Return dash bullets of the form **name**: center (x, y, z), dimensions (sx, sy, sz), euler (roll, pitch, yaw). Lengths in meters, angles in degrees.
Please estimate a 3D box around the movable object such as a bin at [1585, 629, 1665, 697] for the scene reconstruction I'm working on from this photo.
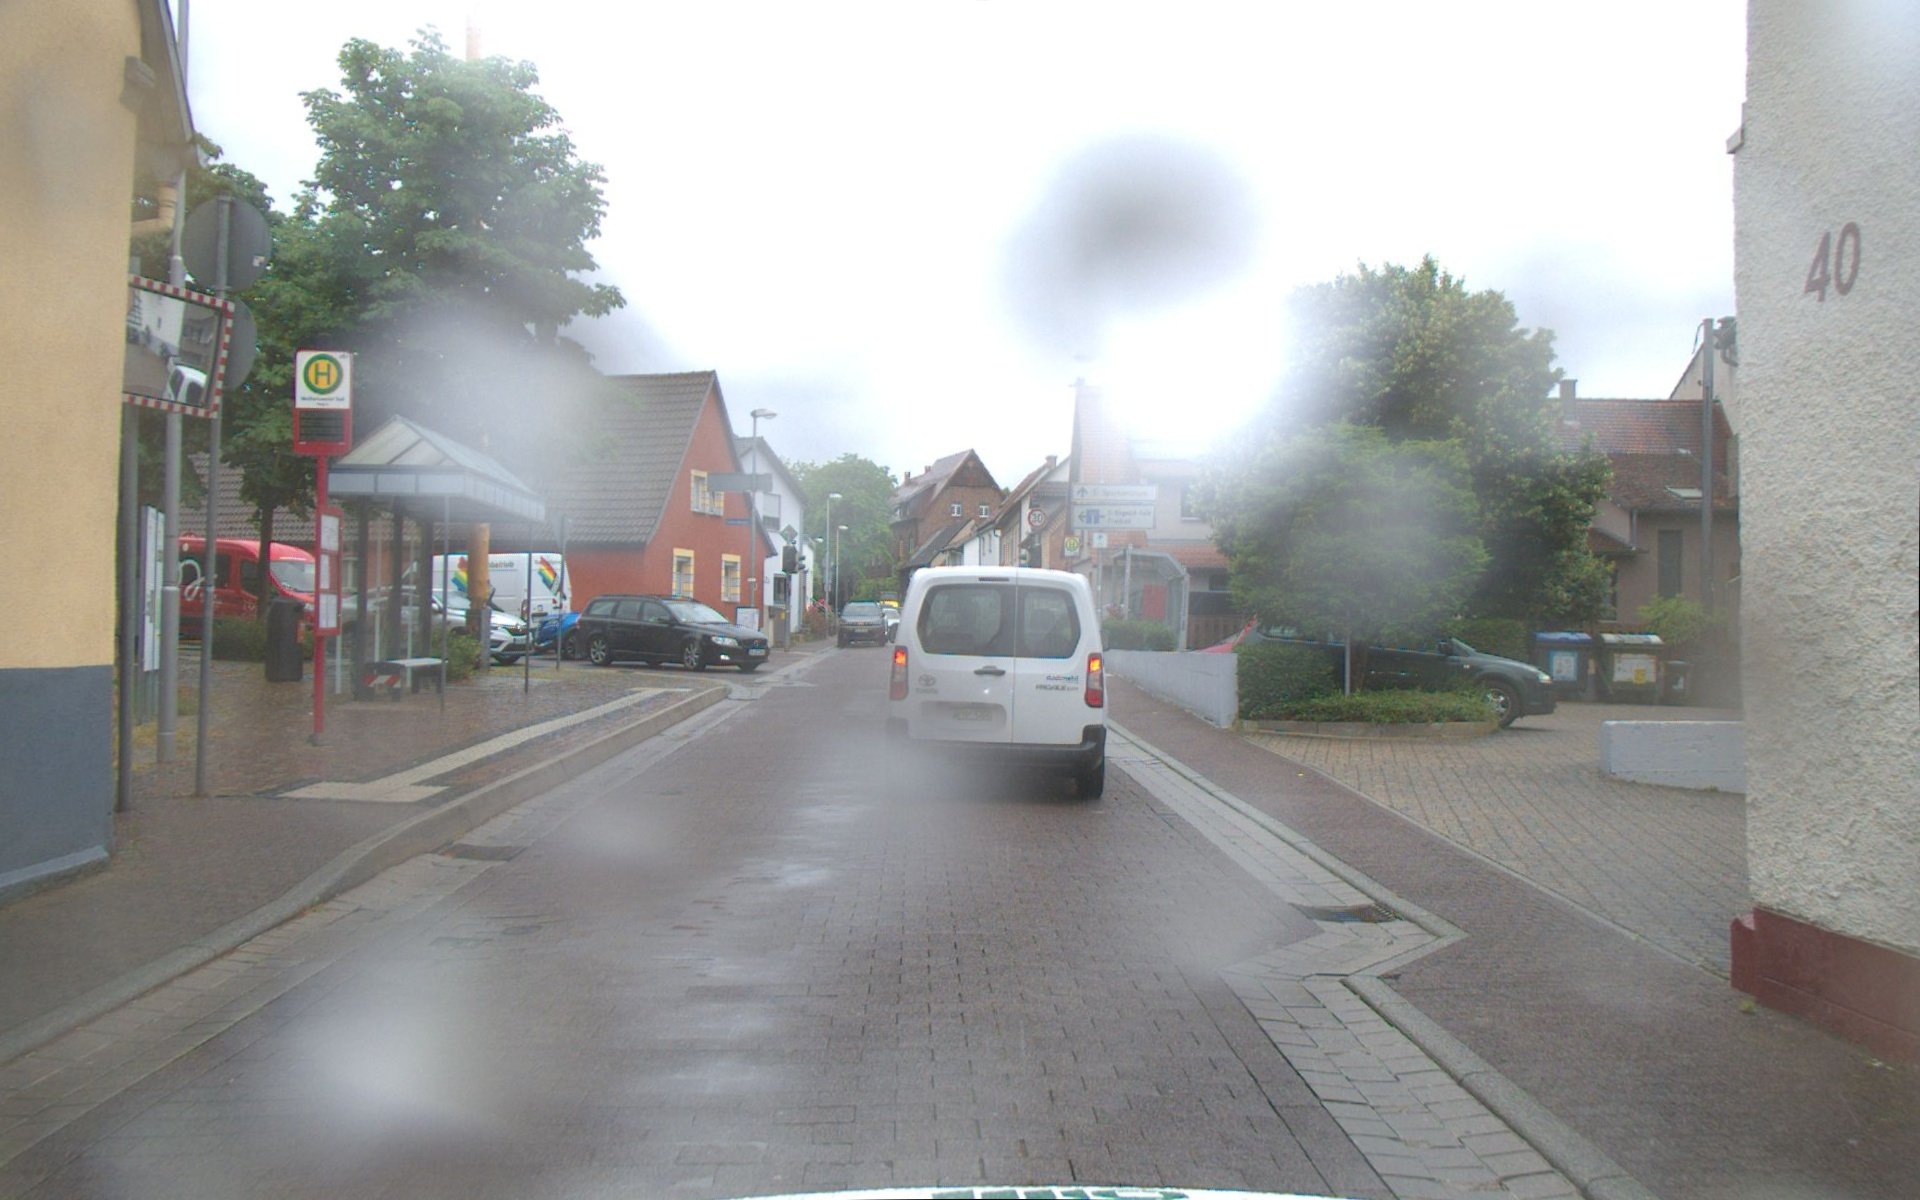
- **movable object such as a bin**: center (14.116, 1.328, 35.132), dimensions (1.216, 1.381, 1.155), euler (2, 0, 0)

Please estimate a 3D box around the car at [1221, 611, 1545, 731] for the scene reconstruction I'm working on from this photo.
- **car**: center (5.746, 0.934, 22.702), dimensions (4.138, 1.506, 1.696), euler (1, -1, 14)

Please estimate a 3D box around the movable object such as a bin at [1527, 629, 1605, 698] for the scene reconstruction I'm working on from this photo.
- **movable object such as a bin**: center (12.860, 1.334, 35.145), dimensions (1.216, 1.381, 1.155), euler (2, 0, 0)

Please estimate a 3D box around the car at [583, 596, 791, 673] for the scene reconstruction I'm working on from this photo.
- **car**: center (-5.737, 0.685, 34.647), dimensions (4.226, 1.503, 1.844), euler (0, 0, 35)

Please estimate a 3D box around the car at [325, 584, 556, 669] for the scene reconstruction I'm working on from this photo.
- **car**: center (-10.925, 0.531, 34.825), dimensions (4.354, 1.577, 1.883), euler (2, 0, 19)

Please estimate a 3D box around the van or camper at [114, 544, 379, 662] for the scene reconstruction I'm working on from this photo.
- **van or camper**: center (-16.051, 0.026, 37.186), dimensions (5.741, 2.517, 2.154), euler (1, 0, 24)

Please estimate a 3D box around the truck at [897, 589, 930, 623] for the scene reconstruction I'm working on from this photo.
- **truck**: center (-3.538, 0.409, 125.402), dimensions (2.304, 2.468, 4.946), euler (2, 0, -4)

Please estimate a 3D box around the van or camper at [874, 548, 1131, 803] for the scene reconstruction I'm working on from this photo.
- **van or camper**: center (0.236, 0.569, 14.416), dimensions (1.904, 1.883, 3.998), euler (1, 0, -3)

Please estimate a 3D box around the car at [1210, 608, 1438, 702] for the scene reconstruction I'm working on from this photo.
- **car**: center (6.695, 0.986, 30.561), dimensions (3.981, 1.617, 1.859), euler (1, -1, 12)

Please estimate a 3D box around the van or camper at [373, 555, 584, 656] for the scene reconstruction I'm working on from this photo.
- **van or camper**: center (-12.503, 0.124, 42.917), dimensions (5.039, 2.478, 2.210), euler (0, 0, 24)

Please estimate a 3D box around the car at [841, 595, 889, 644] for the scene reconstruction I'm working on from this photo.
- **car**: center (-3.598, 0.721, 62.852), dimensions (1.776, 1.810, 4.015), euler (0, 0, -3)

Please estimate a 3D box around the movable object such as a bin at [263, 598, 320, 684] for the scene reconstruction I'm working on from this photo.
- **movable object such as a bin**: center (-9.240, 0.574, 22.874), dimensions (0.551, 1.167, 0.604), euler (0, -2, -4)

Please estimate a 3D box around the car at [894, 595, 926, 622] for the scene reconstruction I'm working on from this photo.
- **car**: center (-3.431, 0.560, 112.643), dimensions (1.954, 1.777, 3.997), euler (2, 0, -4)
